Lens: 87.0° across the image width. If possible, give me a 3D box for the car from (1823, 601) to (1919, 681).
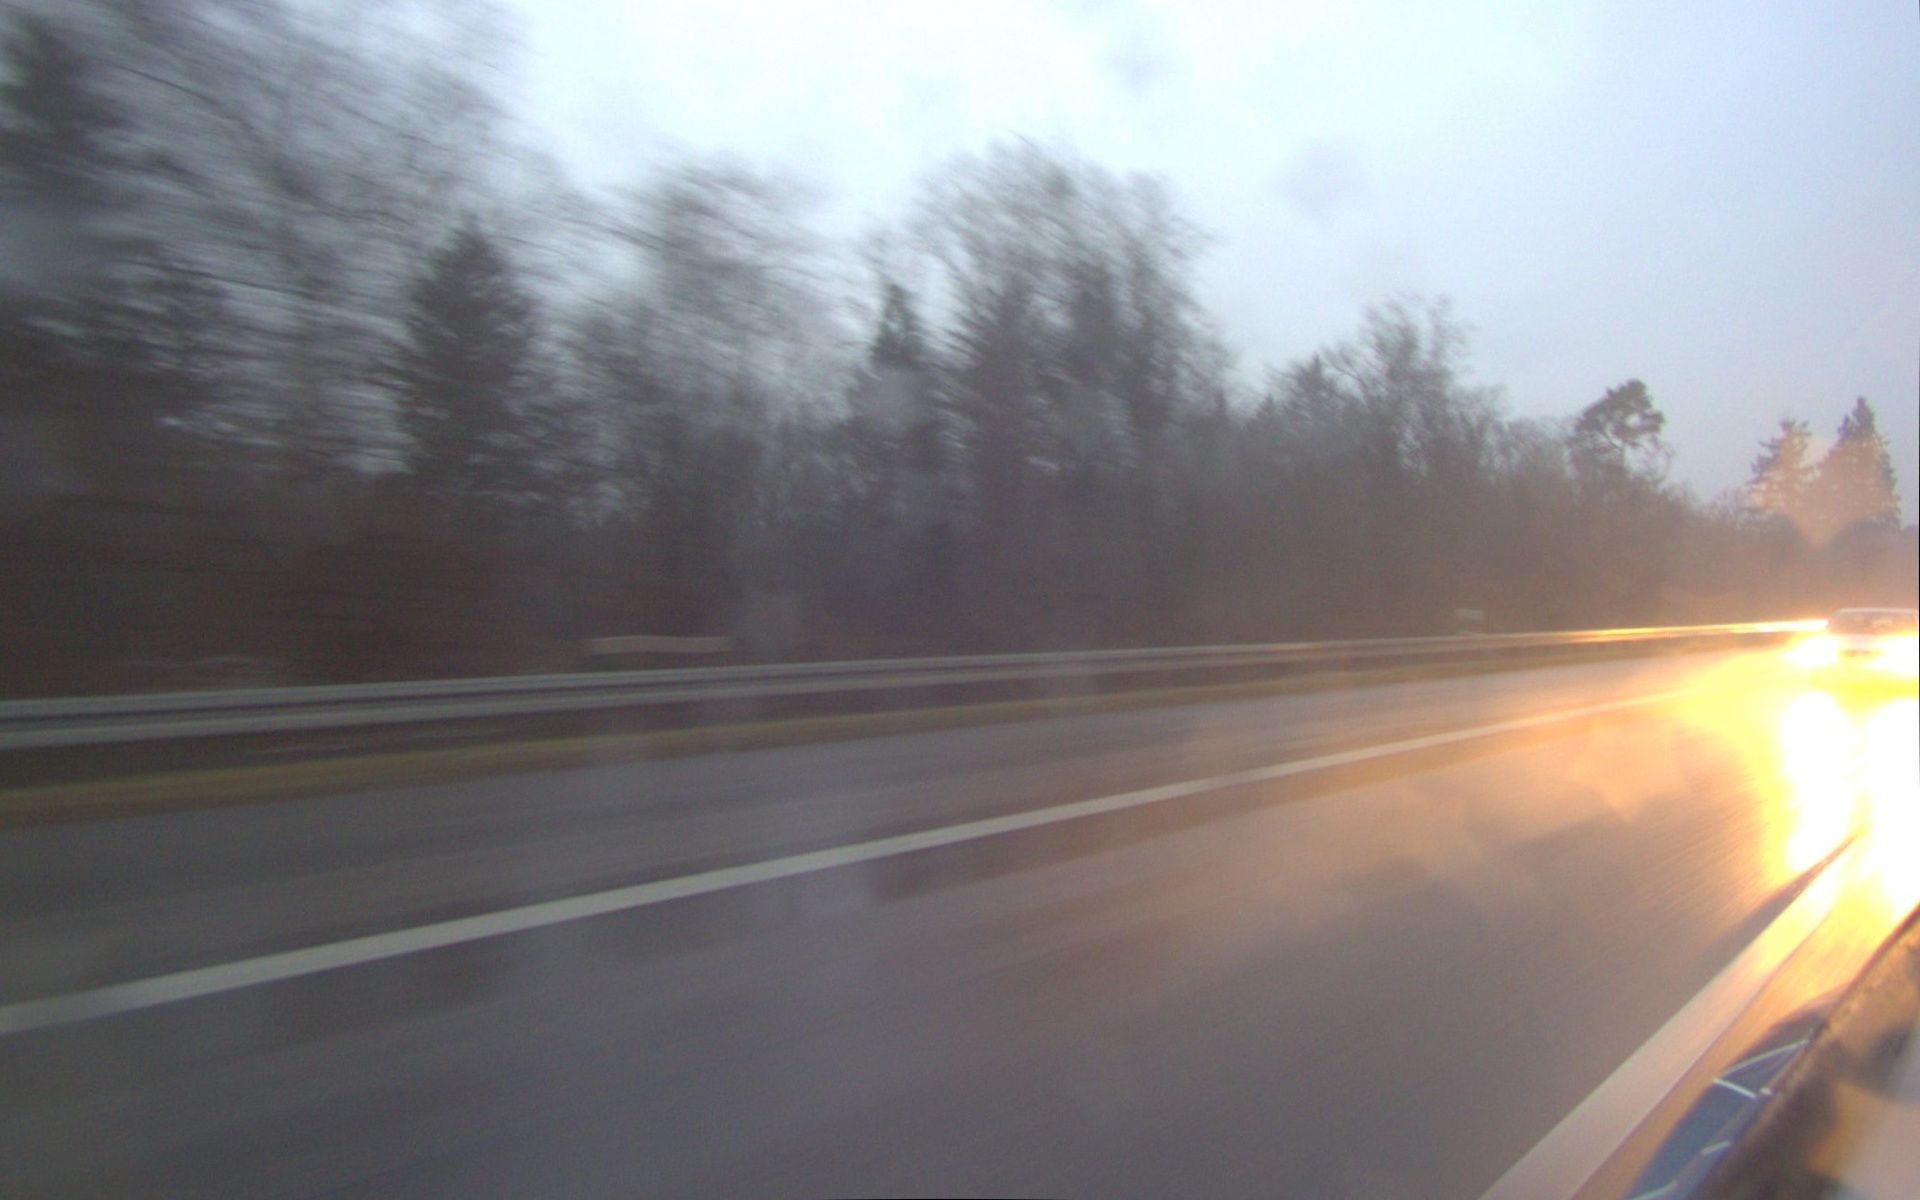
[{"bbox_3d":[17.772,0.723,19.248,3.247,1.383,1.602,0,0,-41],"label":"car"}]
